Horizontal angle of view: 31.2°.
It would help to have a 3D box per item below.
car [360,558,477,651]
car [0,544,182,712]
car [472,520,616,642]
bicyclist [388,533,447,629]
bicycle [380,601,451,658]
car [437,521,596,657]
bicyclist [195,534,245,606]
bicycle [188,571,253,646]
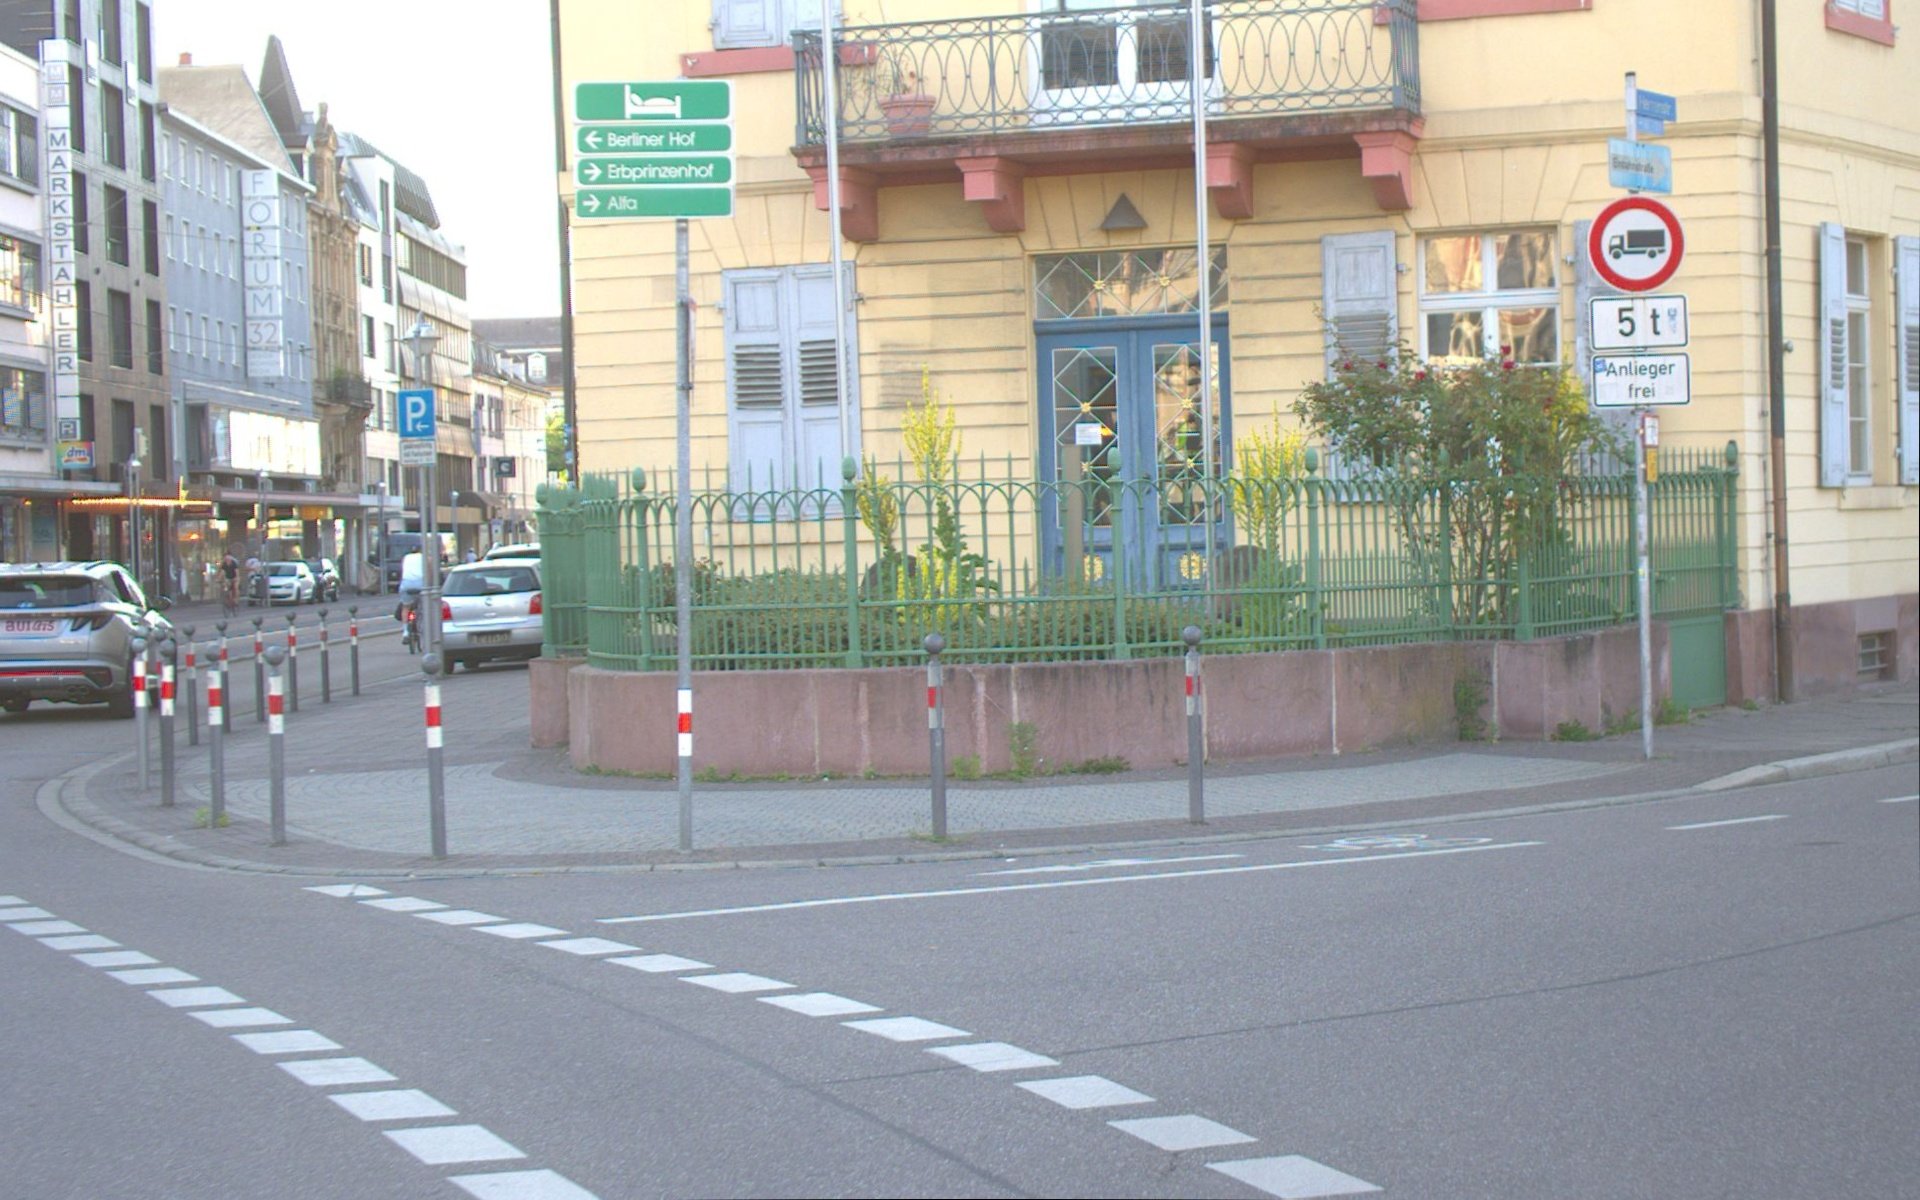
[{"bbox_3d":[-11.175,0.062,71.230,1.808,1.802,4.000,-2,1,-1],"label":"car"},{"bbox_3d":[-9.534,0.251,36.493,1.943,1.655,4.537,-1,1,-6],"label":"car"},{"bbox_3d":[-6.117,-0.301,50.884,1.732,1.702,3.806,-2,1,-2],"label":"car"},{"bbox_3d":[-9.035,-0.327,57.256,0.829,1.563,0.787,-2,1,-2],"label":"bicyclist"},{"bbox_3d":[-9.036,0.476,57.116,0.829,0.867,2.550,-2,1,-2],"label":"bicycle"},{"bbox_3d":[-5.883,-0.179,45.920,1.732,1.702,3.440,-2,1,-2],"label":"car"},{"bbox_3d":[-20.864,-0.849,96.988,1.166,2.007,1.045,-1,1,-3],"label":"bicyclist"},{"bbox_3d":[-20.837,0.223,96.972,1.180,2.007,3.342,-1,1,-2],"label":"bicycle"}]
